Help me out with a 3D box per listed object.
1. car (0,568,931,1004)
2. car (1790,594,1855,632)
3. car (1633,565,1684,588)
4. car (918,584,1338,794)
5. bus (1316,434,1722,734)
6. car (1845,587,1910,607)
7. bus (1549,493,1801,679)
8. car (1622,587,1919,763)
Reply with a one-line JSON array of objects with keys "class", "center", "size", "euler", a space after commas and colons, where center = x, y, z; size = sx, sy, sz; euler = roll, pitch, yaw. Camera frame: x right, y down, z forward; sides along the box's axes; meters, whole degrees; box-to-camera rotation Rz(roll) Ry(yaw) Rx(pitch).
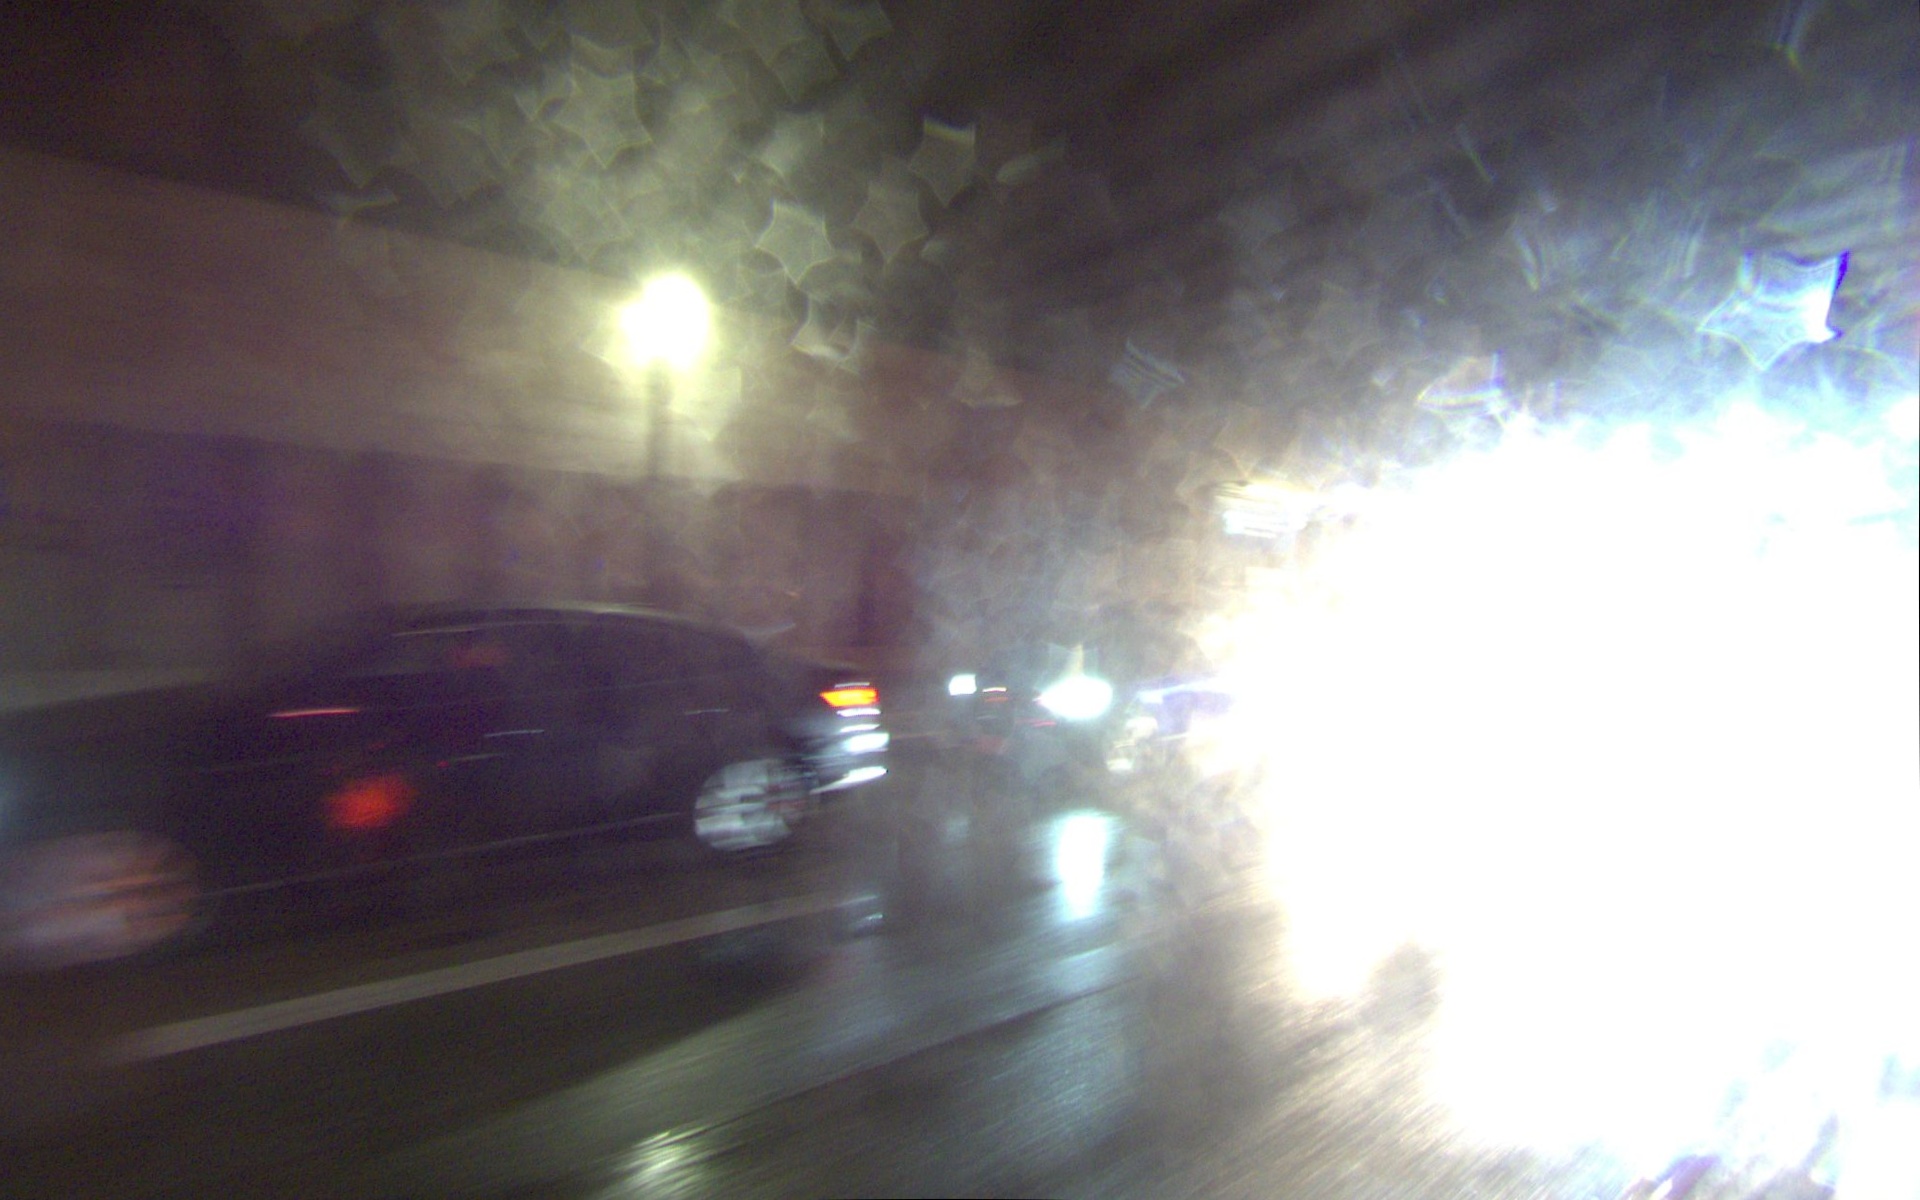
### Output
[{"class": "car", "center": [-2.546, 0.624, 5.249], "size": [4.700, 1.505, 1.724], "euler": [0, 2, -39]}, {"class": "car", "center": [37.609, 0.530, 44.220], "size": [1.746, 1.464, 3.924], "euler": [3, 2, 35]}, {"class": "car", "center": [44.335, -1.468, 64.296], "size": [1.688, 1.407, 3.974], "euler": [0, 1, 20]}, {"class": "car", "center": [1.730, 0.639, 9.511], "size": [4.091, 1.505, 1.723], "euler": [0, 3, -42]}, {"class": "bus", "center": [9.027, -0.225, 15.502], "size": [9.539, 3.318, 2.736], "euler": [0, 1, -44]}, {"class": "car", "center": [65.901, -0.223, 72.779], "size": [1.879, 1.407, 4.805], "euler": [0, 1, 22]}, {"class": "bus", "center": [15.933, -0.296, 22.139], "size": [9.538, 3.279, 2.736], "euler": [0, 1, -44]}, {"class": "car", "center": [8.697, 0.666, 10.596], "size": [4.087, 1.506, 1.723], "euler": [0, -2, -39]}]
